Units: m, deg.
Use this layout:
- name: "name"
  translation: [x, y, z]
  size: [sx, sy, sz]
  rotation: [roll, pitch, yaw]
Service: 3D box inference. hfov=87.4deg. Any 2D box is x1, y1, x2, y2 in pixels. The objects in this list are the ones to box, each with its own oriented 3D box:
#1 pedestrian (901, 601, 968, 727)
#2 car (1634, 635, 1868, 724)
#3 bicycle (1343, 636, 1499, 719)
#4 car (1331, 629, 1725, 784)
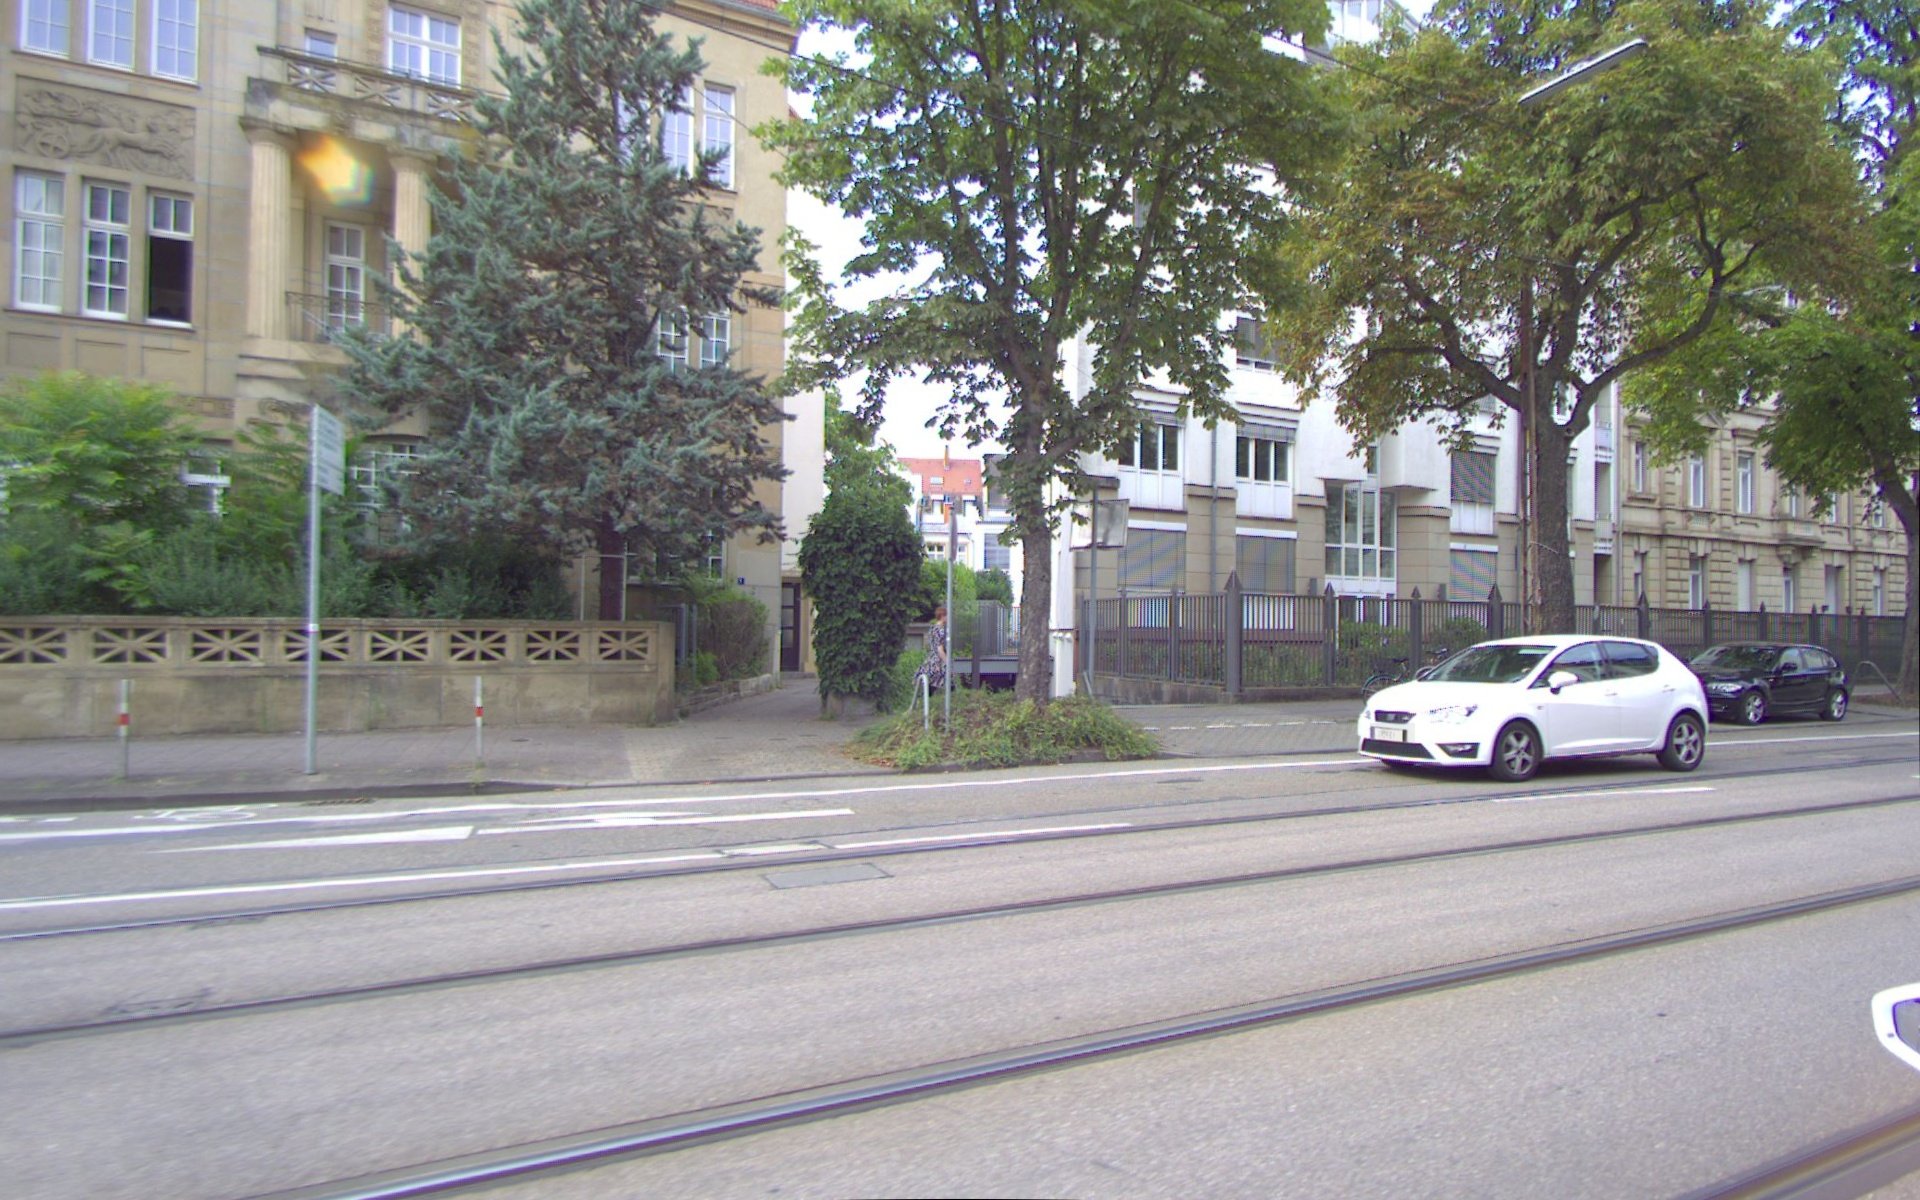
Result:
- name: "pedestrian"
  translation: [-0.371, 0.898, 14.427]
  size: [0.692, 1.758, 0.702]
  rotation: [1, 0, -29]
- name: "car"
  translation: [14.919, 1.454, 18.937]
  size: [4.107, 1.444, 1.716]
  rotation: [2, 1, -24]
- name: "bicycle"
  translation: [7.451, 1.221, 16.270]
  size: [2.198, 1.191, 0.833]
  rotation: [1, 0, 33]
- name: "car"
  translation: [6.126, 1.071, 10.835]
  size: [3.941, 1.434, 1.568]
  rotation: [1, -3, -22]
